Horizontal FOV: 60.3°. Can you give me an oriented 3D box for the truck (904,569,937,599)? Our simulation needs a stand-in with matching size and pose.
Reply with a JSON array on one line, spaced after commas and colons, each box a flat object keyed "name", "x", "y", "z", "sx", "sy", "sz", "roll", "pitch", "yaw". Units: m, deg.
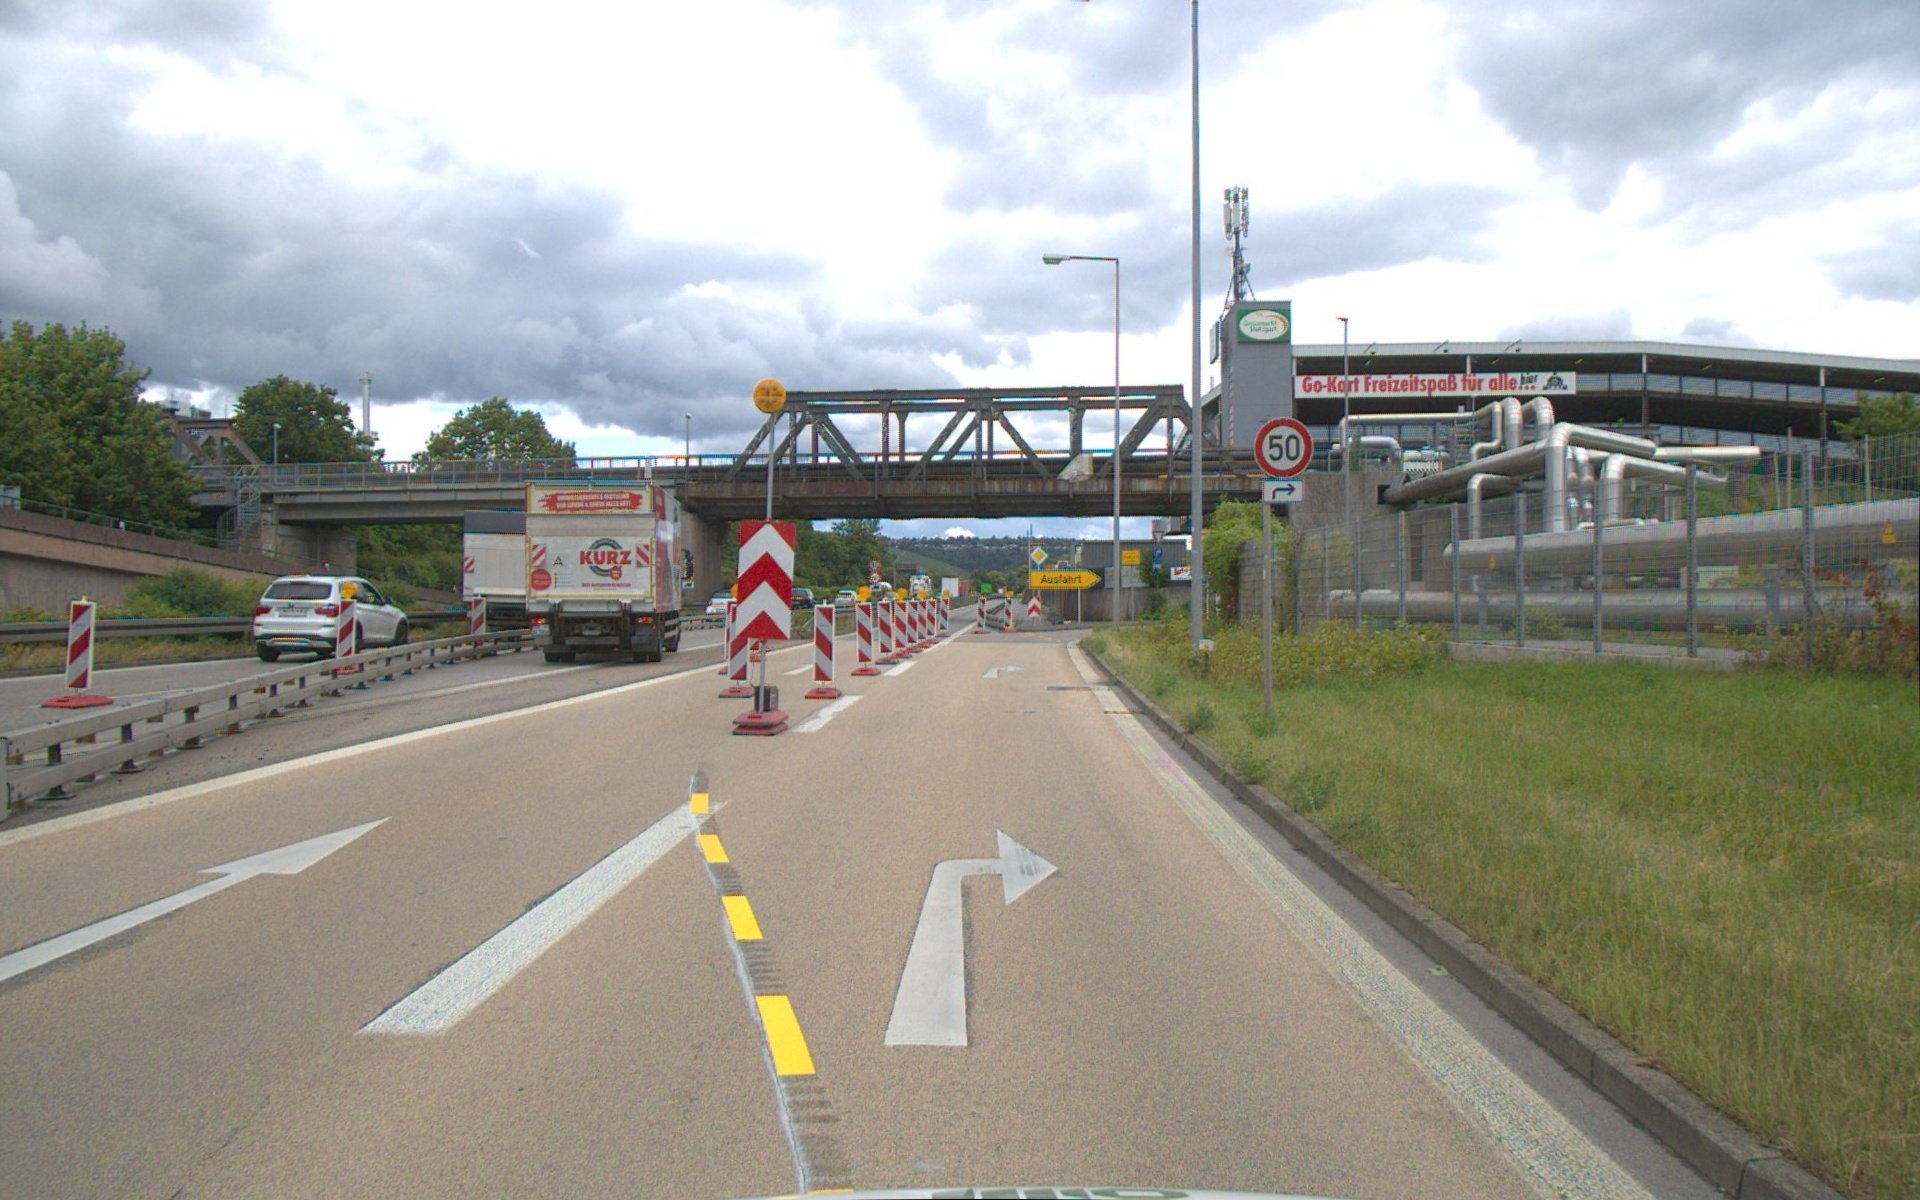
[{"name": "truck", "x": -5.096, "y": -2.024, "z": 213.417, "sx": 3.642, "sy": 3.709, "sz": 7.730, "roll": 0, "pitch": 0, "yaw": 3}]

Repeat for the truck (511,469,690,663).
[{"name": "truck", "x": -7.705, "y": -0.658, "z": 36.786, "sx": 2.897, "sy": 3.693, "sz": 10.139, "roll": 0, "pitch": 0, "yaw": -7}]

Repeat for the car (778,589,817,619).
[{"name": "car", "x": -10.162, "y": 0.272, "z": 103.860, "sx": 1.952, "sy": 1.790, "sz": 4.000, "roll": -1, "pitch": 0, "yaw": 1}]

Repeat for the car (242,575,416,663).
[{"name": "car", "x": -12.795, "y": 0.375, "z": 33.827, "sx": 1.816, "sy": 1.669, "sz": 4.292, "roll": 1, "pitch": 0, "yaw": 1}]

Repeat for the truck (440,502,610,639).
[{"name": "truck", "x": -12.453, "y": -0.779, "z": 48.118, "sx": 2.933, "sy": 3.618, "sz": 7.739, "roll": -1, "pitch": 0, "yaw": -1}]

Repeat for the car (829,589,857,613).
[{"name": "car", "x": -9.225, "y": 0.037, "z": 130.605, "sx": 1.953, "sy": 1.847, "sz": 4.000, "roll": 0, "pitch": 0, "yaw": 0}]

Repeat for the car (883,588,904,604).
[{"name": "car", "x": -6.876, "y": -0.372, "z": 171.312, "sx": 1.742, "sy": 1.624, "sz": 3.751, "roll": 0, "pitch": 0, "yaw": 3}]

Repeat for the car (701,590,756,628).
[{"name": "car", "x": -11.101, "y": 0.430, "z": 79.642, "sx": 1.952, "sy": 1.790, "sz": 4.001, "roll": -1, "pitch": 0, "yaw": 2}]

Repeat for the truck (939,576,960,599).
[{"name": "truck", "x": -1.467, "y": -1.755, "z": 233.554, "sx": 2.625, "sy": 3.195, "sz": 6.134, "roll": 1, "pitch": 0, "yaw": 3}]

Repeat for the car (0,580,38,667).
[{"name": "car", "x": -19.306, "y": 0.430, "z": 30.763, "sx": 1.816, "sy": 1.669, "sz": 4.292, "roll": 1, "pitch": 0, "yaw": 1}]
